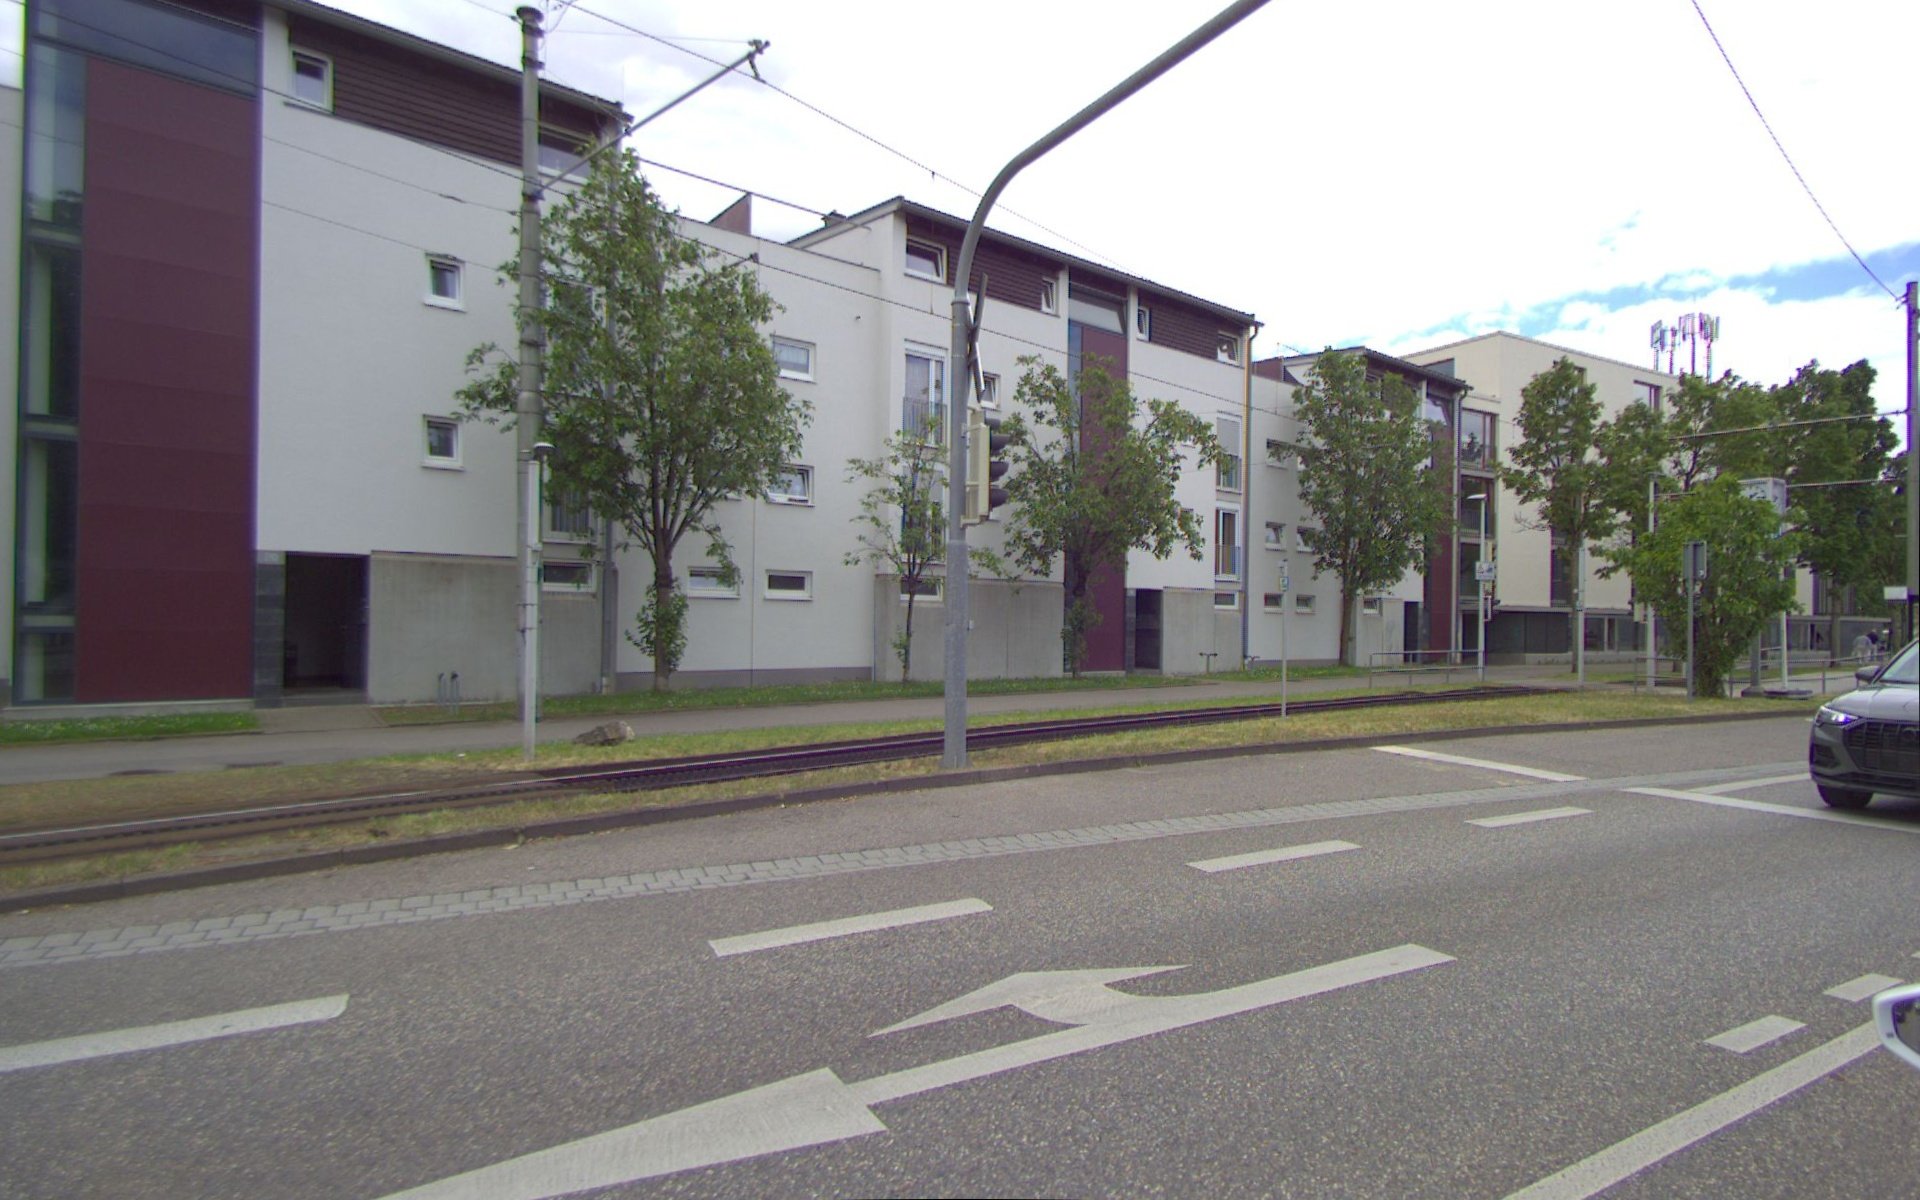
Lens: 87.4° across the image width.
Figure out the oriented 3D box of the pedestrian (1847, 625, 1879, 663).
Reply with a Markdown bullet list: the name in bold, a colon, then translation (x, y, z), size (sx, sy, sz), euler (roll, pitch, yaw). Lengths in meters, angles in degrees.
- **pedestrian**: translation (43.194, 2.100, 48.065), size (0.896, 1.742, 0.915), euler (1, -1, -30)

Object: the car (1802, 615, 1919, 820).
- **car**: translation (9.253, 0.963, 8.707), size (4.135, 1.580, 1.731), euler (2, -2, -31)

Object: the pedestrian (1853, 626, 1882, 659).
- **pedestrian**: translation (48.880, 2.292, 54.122), size (0.896, 1.742, 0.915), euler (1, -1, -30)
